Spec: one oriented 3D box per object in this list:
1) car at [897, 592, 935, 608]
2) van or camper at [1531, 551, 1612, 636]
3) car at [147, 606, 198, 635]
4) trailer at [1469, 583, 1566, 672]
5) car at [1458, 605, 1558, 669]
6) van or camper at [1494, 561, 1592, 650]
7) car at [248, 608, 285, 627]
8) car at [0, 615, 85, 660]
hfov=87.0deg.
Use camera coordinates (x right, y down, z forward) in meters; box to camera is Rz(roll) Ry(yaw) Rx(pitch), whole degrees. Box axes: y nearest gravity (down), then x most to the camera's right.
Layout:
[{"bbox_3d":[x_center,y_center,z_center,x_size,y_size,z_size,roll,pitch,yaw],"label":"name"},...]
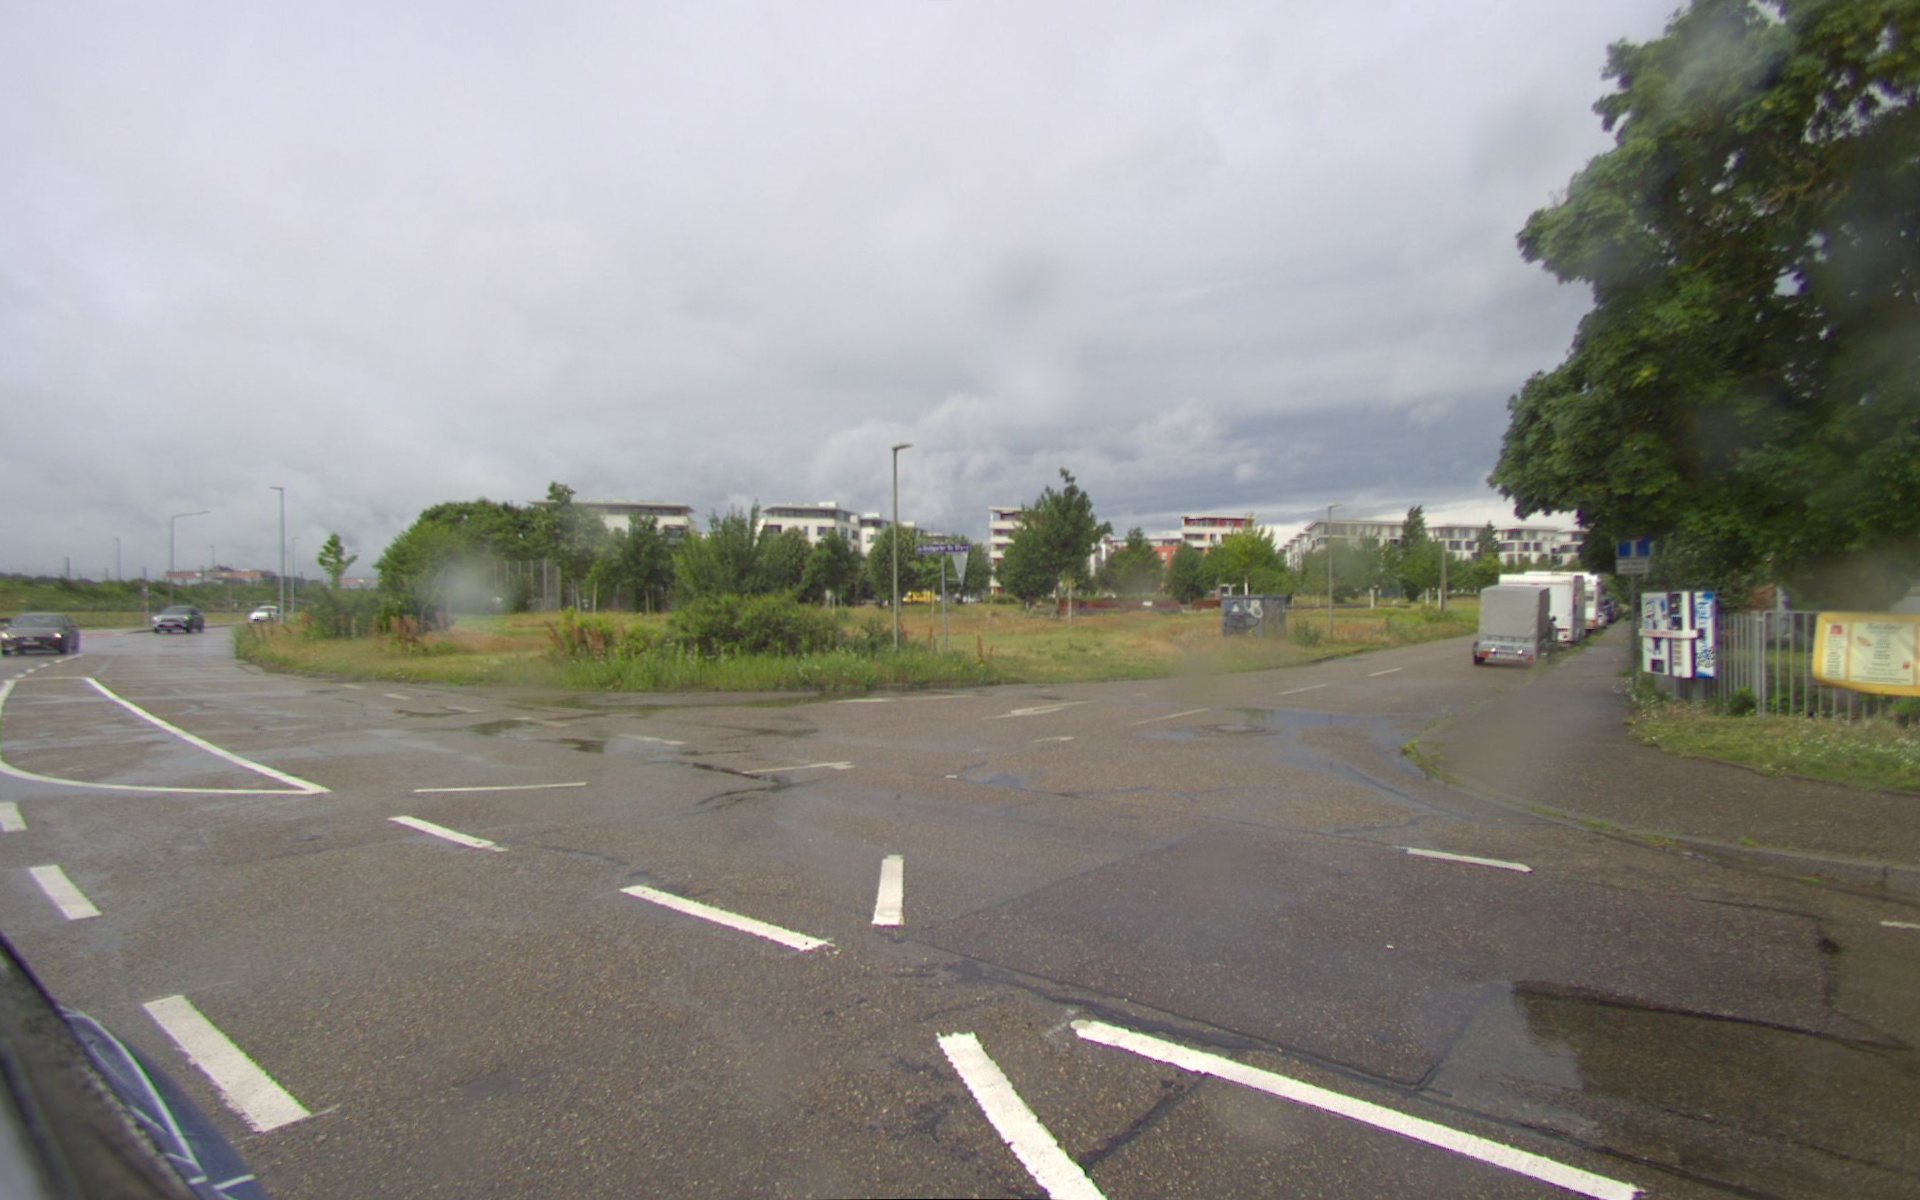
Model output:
[{"bbox_3d":[-7.950,-0.072,184.490,6.527,2.633,1.973,-3,1,-20],"label":"car"},{"bbox_3d":[29.183,-0.275,48.197,2.650,3.772,5.777,-1,0,37],"label":"van or camper"},{"bbox_3d":[-48.995,1.223,63.047,1.977,1.718,4.342,-1,0,-31],"label":"car"},{"bbox_3d":[14.822,0.639,26.808,1.840,2.105,4.065,-1,1,35],"label":"trailer"},{"bbox_3d":[16.848,1.060,31.001,1.997,1.789,4.462,-1,0,37],"label":"car"},{"bbox_3d":[20.986,0.178,36.353,2.480,2.968,4.459,-1,0,37],"label":"van or camper"},{"bbox_3d":[-59.111,1.473,86.328,1.811,1.530,4.372,-1,0,-23],"label":"car"},{"bbox_3d":[-33.415,1.324,36.773,1.844,1.530,4.369,1,-1,-33],"label":"car"}]
